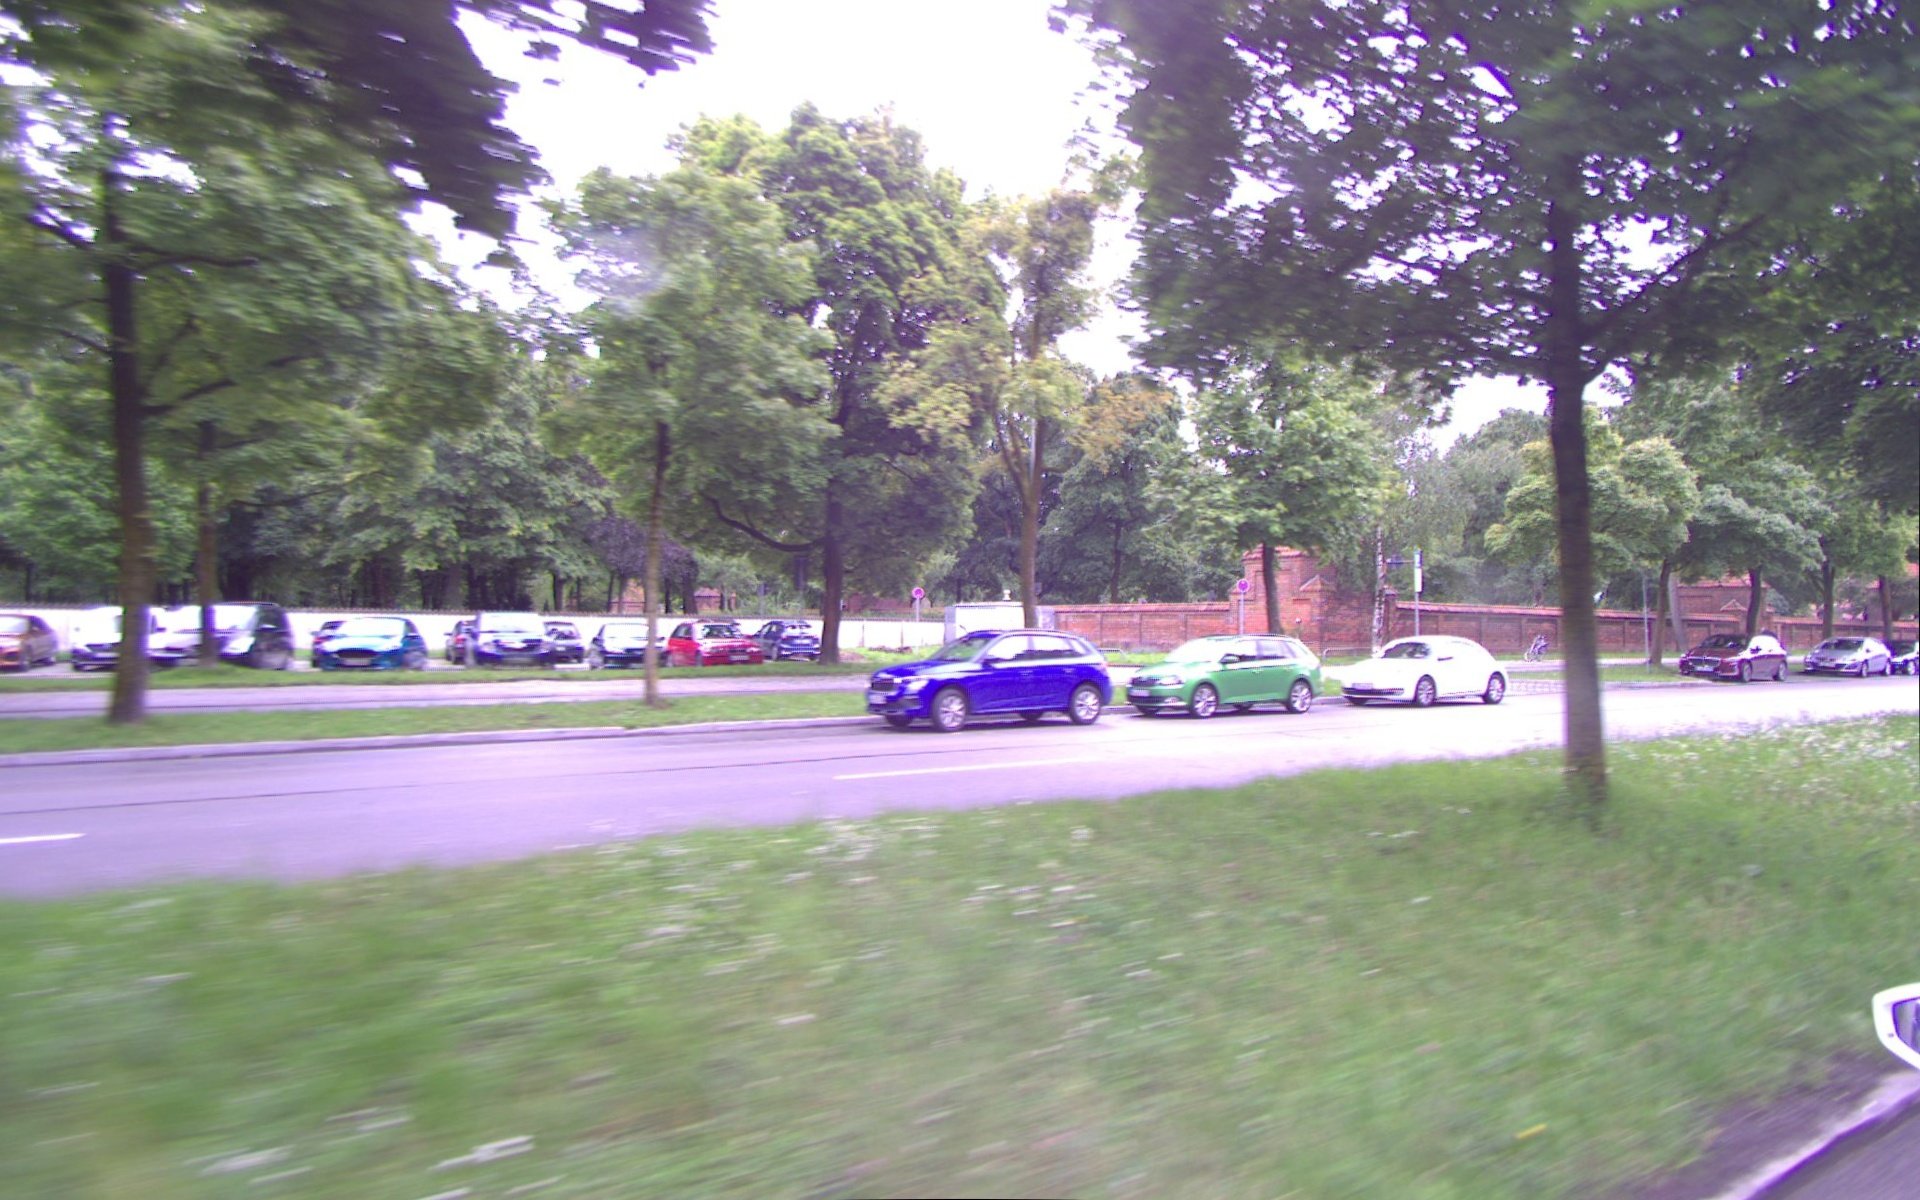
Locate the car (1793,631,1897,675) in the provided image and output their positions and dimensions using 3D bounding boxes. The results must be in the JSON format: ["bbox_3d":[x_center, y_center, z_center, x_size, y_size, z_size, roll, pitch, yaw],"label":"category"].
[{"bbox_3d":[34.190,2.013,38.788,4.391,1.557,1.804,1,0,-31],"label":"car"}]

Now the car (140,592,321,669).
[{"bbox_3d":[-15.904,0.657,22.184,1.968,1.524,3.986,1,-1,-16],"label":"car"}]

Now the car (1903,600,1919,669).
[{"bbox_3d":[44.734,1.593,45.015,6.125,2.993,2.173,1,0,-33],"label":"car"}]

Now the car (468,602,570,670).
[{"bbox_3d":[-10.834,0.851,24.960,1.969,1.524,4.345,1,-1,-19],"label":"car"}]

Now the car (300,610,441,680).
[{"bbox_3d":[-13.939,1.035,24.026,1.968,1.524,3.986,1,-1,-16],"label":"car"}]

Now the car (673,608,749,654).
[{"bbox_3d":[-9.650,1.153,38.794,1.794,1.557,3.967,1,1,-30],"label":"car"}]

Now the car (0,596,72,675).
[{"bbox_3d":[-27.432,0.958,28.859,1.977,2.061,4.483,1,0,-30],"label":"car"}]

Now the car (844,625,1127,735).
[{"bbox_3d":[0.451,1.225,16.202,4.267,1.557,1.877,1,-4,-32],"label":"car"}]

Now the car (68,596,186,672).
[{"bbox_3d":[-25.008,0.954,30.319,1.977,2.061,4.483,1,0,-30],"label":"car"}]

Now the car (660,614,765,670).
[{"bbox_3d":[-6.913,1.115,27.740,1.738,1.410,4.394,1,-1,-29],"label":"car"}]

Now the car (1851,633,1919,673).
[{"bbox_3d":[39.143,2.176,41.775,4.765,1.557,1.804,1,0,-32],"label":"car"}]

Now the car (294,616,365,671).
[{"bbox_3d":[-20.555,1.381,32.864,1.794,1.557,3.967,1,1,-30],"label":"car"}]

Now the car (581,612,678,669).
[{"bbox_3d":[-8.851,1.030,26.720,1.738,1.410,3.959,1,-1,-29],"label":"car"}]

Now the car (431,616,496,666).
[{"bbox_3d":[-17.603,1.409,35.521,1.794,1.557,3.967,1,1,-30],"label":"car"}]

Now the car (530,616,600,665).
[{"bbox_3d":[-14.660,1.456,37.151,1.794,1.557,3.967,1,1,-30],"label":"car"}]

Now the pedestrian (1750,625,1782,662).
[{"bbox_3d":[35.224,1.900,43.909,0.778,1.588,0.777,1,-1,6],"label":"pedestrian"}]

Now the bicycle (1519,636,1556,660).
[{"bbox_3d":[23.514,1.939,40.886,1.602,0.949,0.651,1,-1,-33],"label":"bicycle"}]

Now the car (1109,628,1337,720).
[{"bbox_3d":[5.000,1.351,18.949,4.264,1.557,1.631,1,-3,-31],"label":"car"}]

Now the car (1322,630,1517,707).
[{"bbox_3d":[10.100,1.461,21.998,4.264,1.557,1.753,1,-3,-31],"label":"car"}]

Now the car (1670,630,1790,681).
[{"bbox_3d":[25.965,1.829,33.839,4.250,1.557,1.804,1,0,-31],"label":"car"}]

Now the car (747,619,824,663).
[{"bbox_3d":[-7.150,1.624,40.849,1.794,1.557,3.967,1,1,-30],"label":"car"}]
